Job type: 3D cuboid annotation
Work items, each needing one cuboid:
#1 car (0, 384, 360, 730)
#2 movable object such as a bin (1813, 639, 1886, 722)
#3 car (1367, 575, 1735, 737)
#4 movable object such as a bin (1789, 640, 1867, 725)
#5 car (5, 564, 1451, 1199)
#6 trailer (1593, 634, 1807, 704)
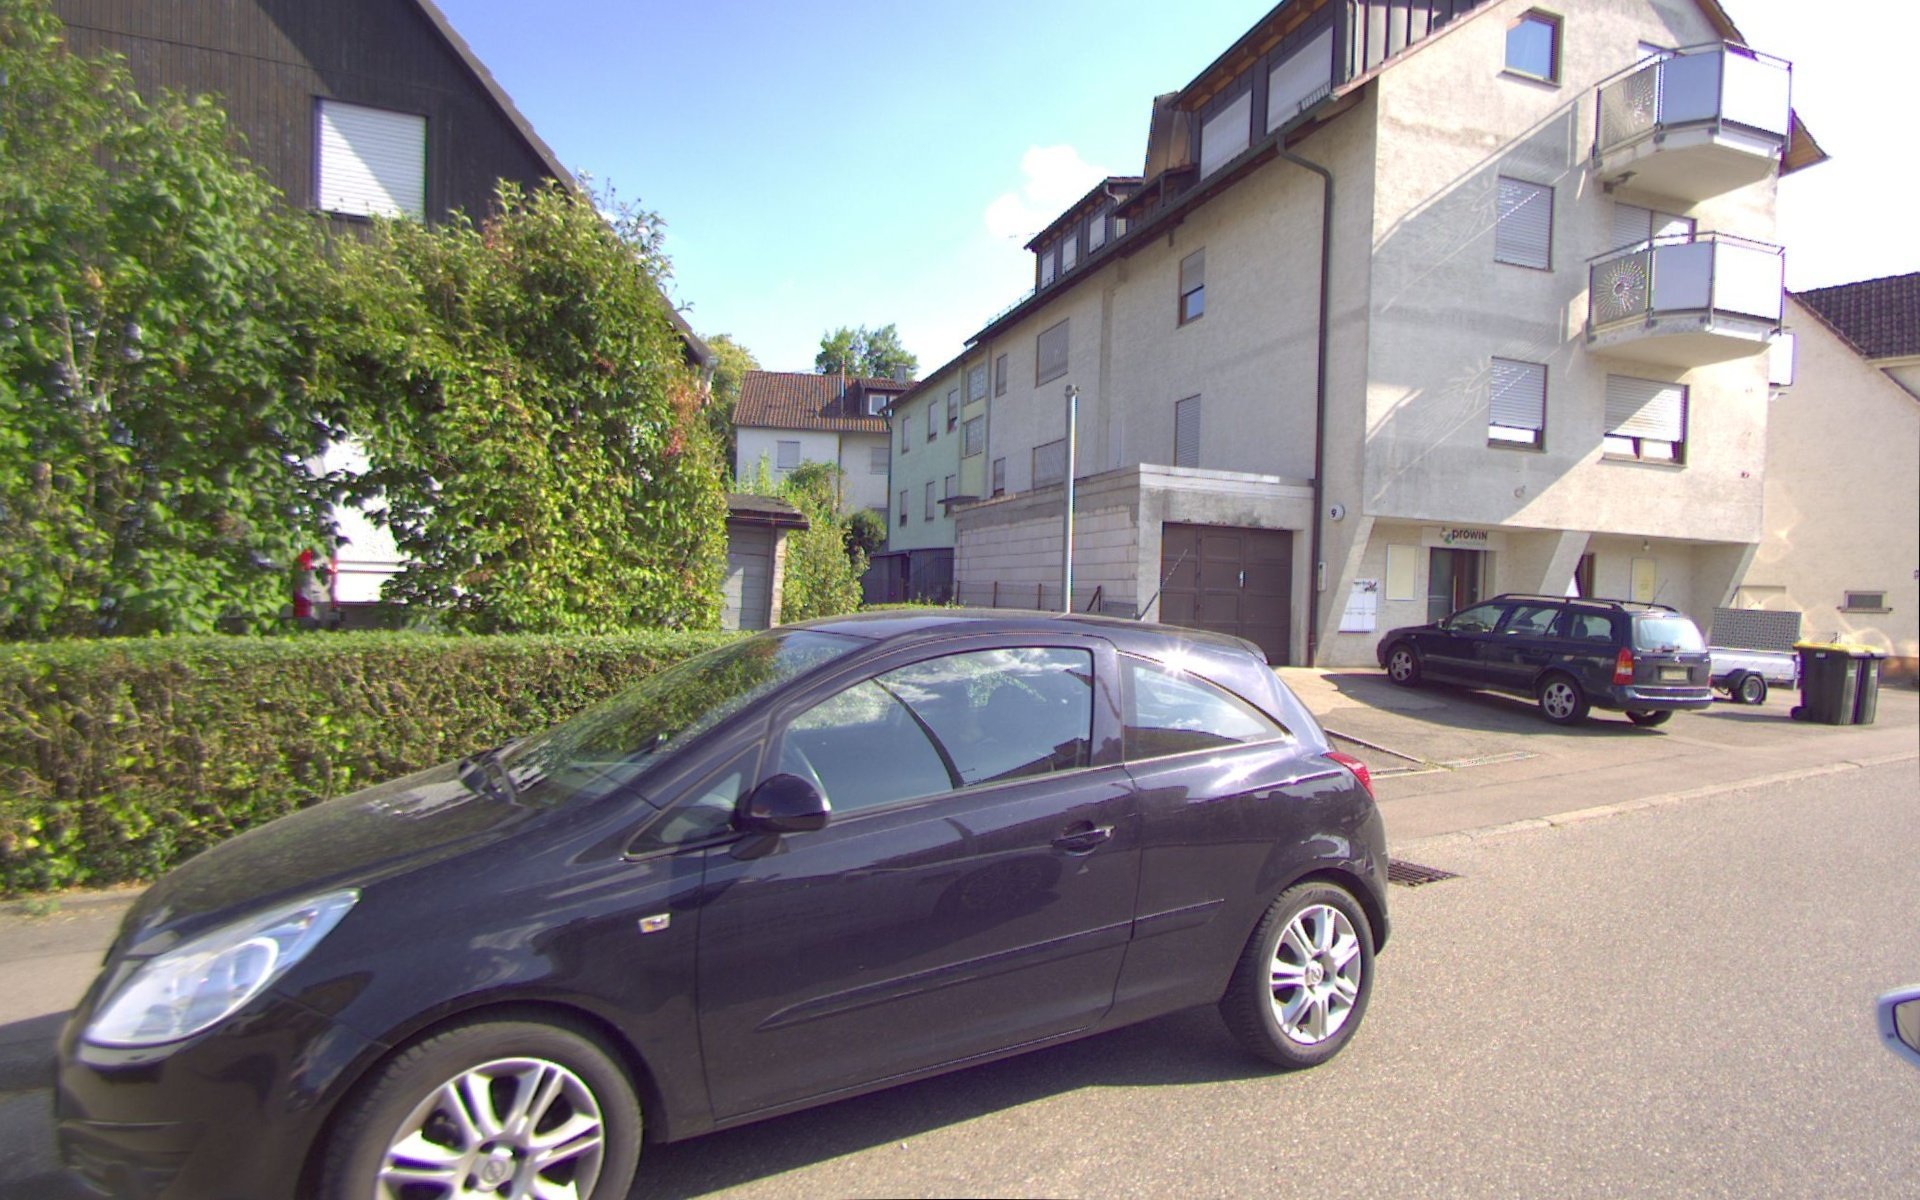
[{"bbox_3d":[-8.544,-0.381,8.227,6.014,2.631,2.151,1,1,-27],"label":"car"},{"bbox_3d":[12.574,1.126,14.208,0.551,1.085,0.567,1,3,-31],"label":"movable object such as a bin"},{"bbox_3d":[7.593,0.603,13.425,1.735,1.559,3.981,1,5,-19],"label":"car"},{"bbox_3d":[12.023,1.129,13.922,0.612,1.085,0.596,1,3,-31],"label":"movable object such as a bin"},{"bbox_3d":[-0.320,0.717,3.319,3.789,1.471,1.665,2,0,-30],"label":"car"},{"bbox_3d":[12.292,1.137,16.723,2.843,0.866,1.330,4,2,-14],"label":"trailer"}]
